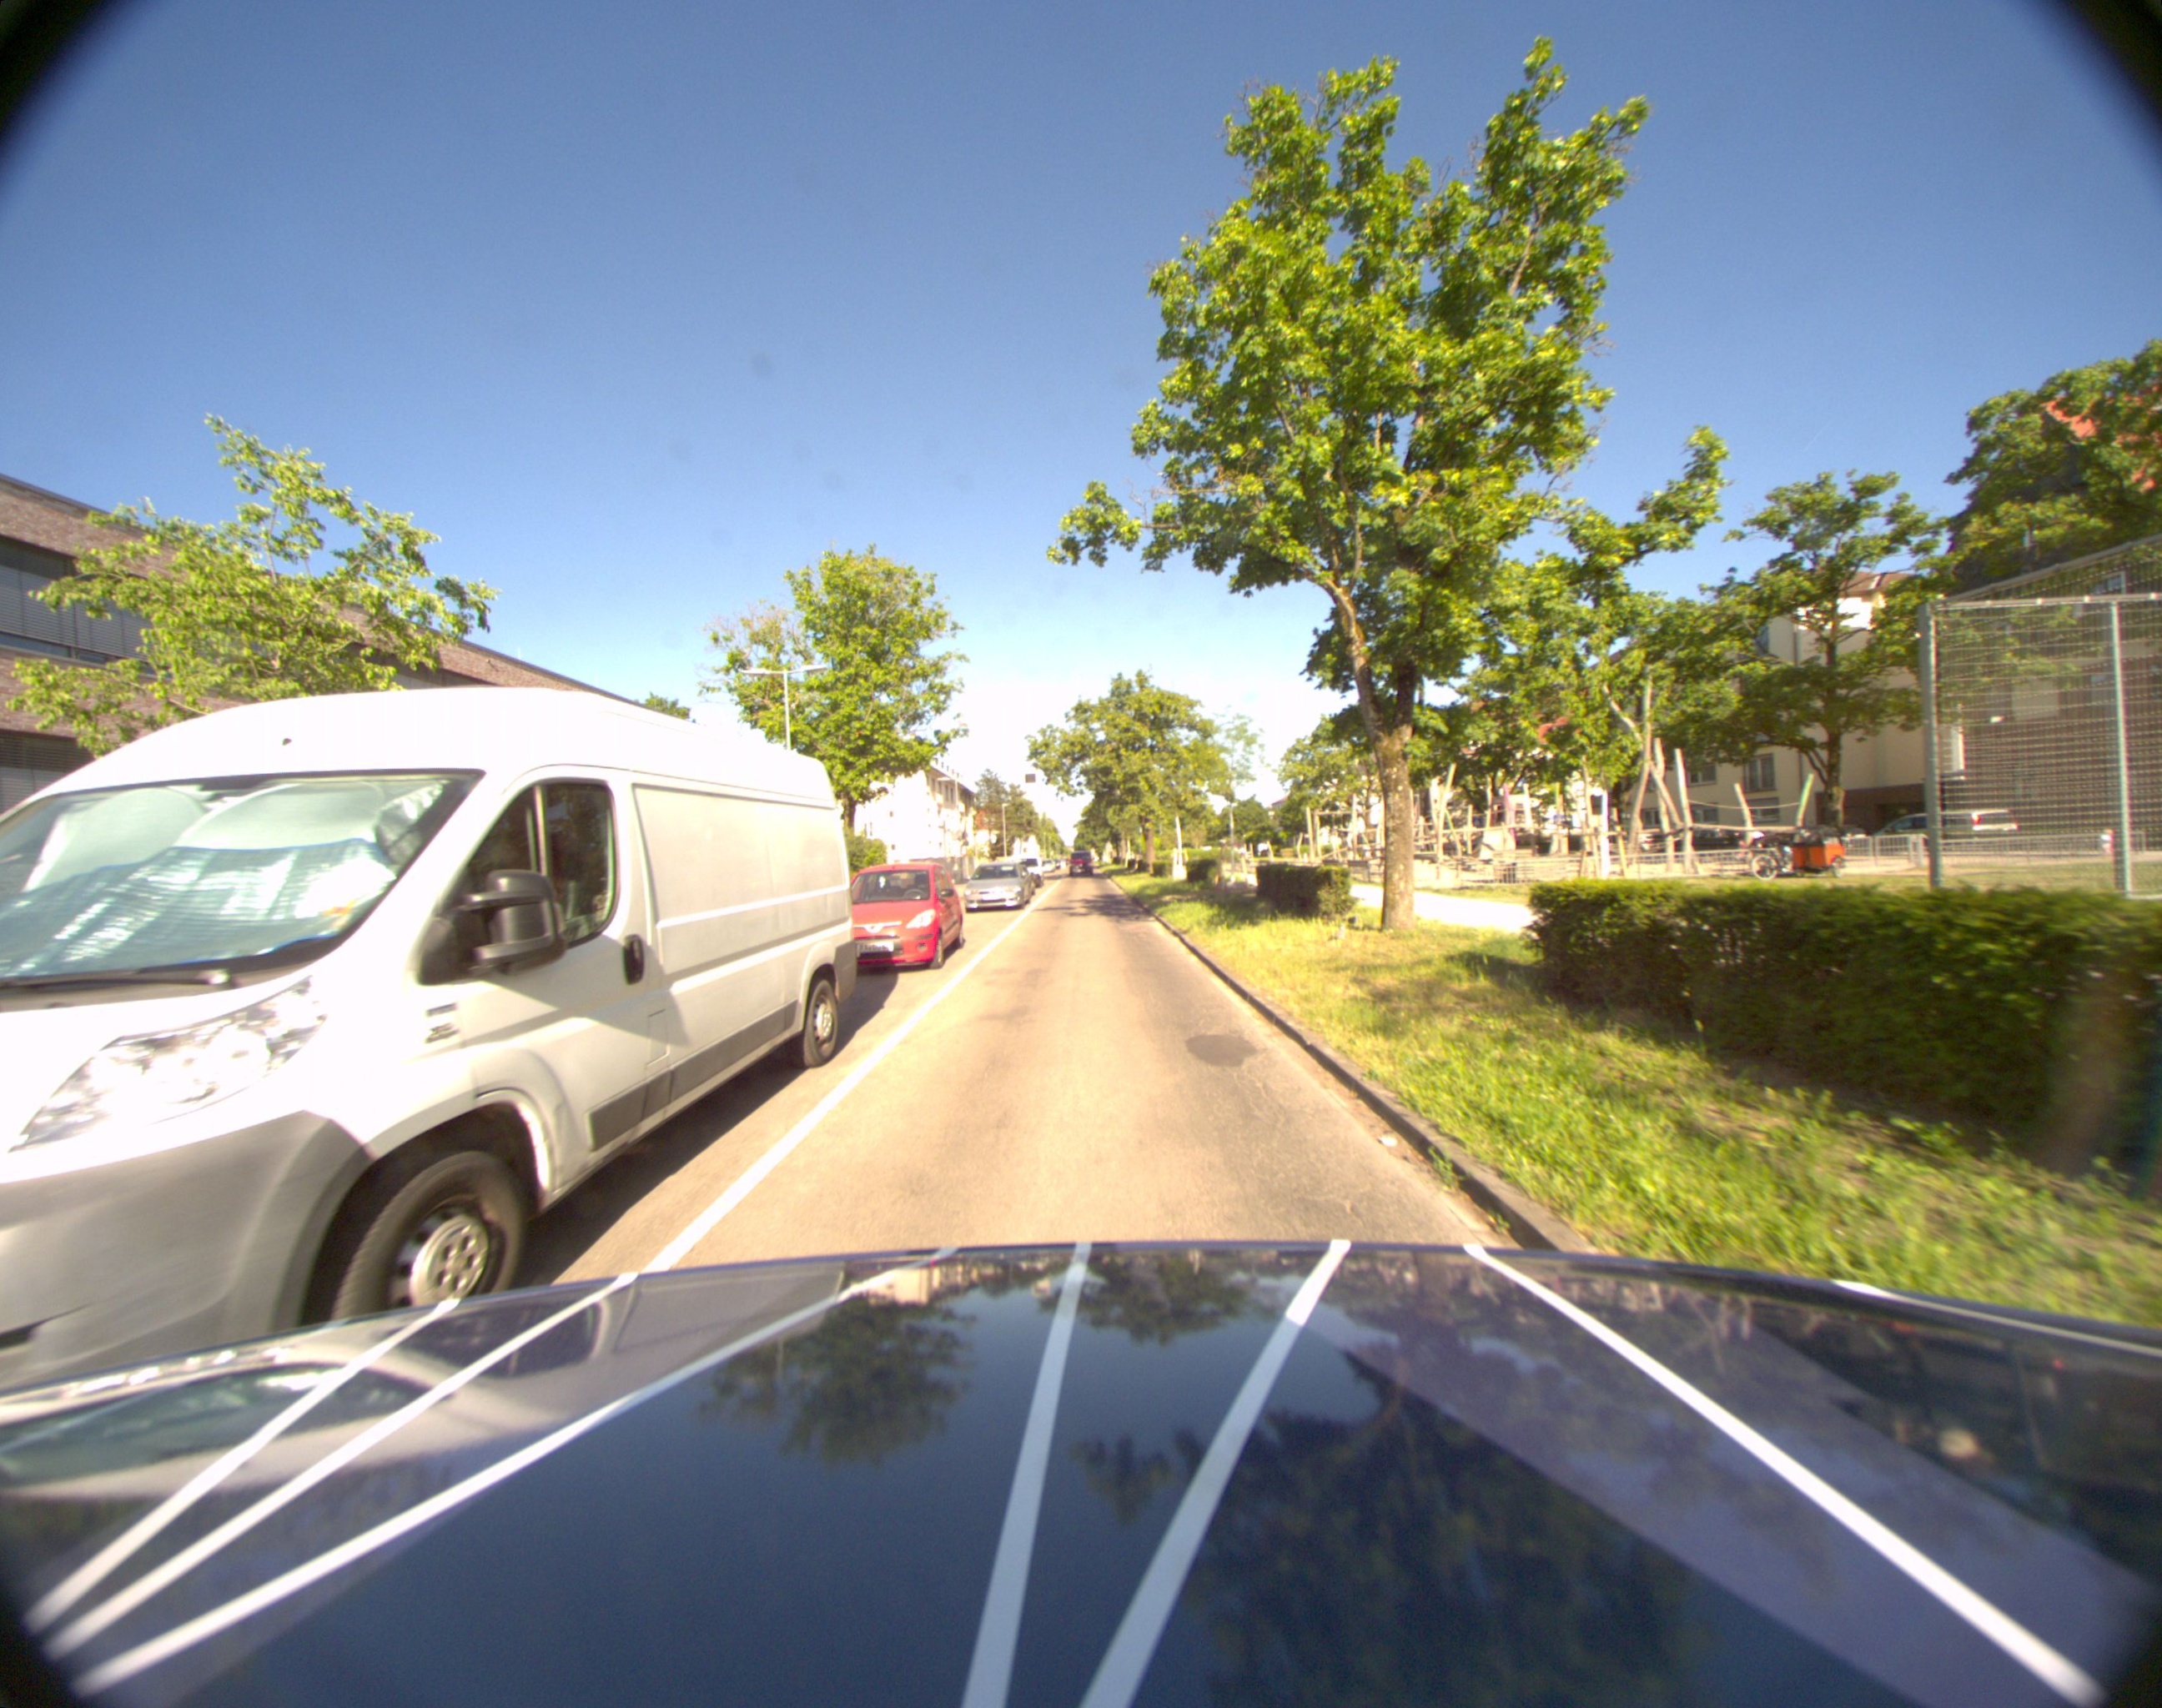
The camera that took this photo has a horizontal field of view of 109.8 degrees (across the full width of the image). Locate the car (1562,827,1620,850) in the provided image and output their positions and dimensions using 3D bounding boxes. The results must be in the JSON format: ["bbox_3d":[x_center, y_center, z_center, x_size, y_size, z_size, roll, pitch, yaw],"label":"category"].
[{"bbox_3d":[39.516,-1.166,58.980,1.799,1.545,4.000,-3,0,0],"label":"car"}]

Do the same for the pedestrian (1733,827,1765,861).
[{"bbox_3d":[26.725,-0.390,30.412,0.650,1.310,0.650,-3,0,-3],"label":"pedestrian"}]

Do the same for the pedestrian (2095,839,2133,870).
[{"bbox_3d":[27.623,0.012,20.324,0.484,0.799,0.359,-3,0,2],"label":"pedestrian"}]

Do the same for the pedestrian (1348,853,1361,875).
[{"bbox_3d":[16.506,0.593,45.920,0.649,1.321,0.651,-3,1,18],"label":"pedestrian"}]

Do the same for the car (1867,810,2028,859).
[{"bbox_3d":[39.420,-0.824,34.800,1.799,1.971,4.835,-3,0,1],"label":"car"}]

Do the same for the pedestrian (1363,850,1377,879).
[{"bbox_3d":[16.814,0.598,44.230,0.649,1.651,0.651,-3,1,18],"label":"pedestrian"}]

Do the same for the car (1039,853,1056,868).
[{"bbox_3d":[-3.659,0.726,81.956,1.664,1.456,4.409,-5,0,-4],"label":"car"}]

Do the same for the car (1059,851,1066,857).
[{"bbox_3d":[-5.065,0.045,211.527,1.799,1.529,4.001,-3,-1,0],"label":"car"}]

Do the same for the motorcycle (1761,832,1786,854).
[{"bbox_3d":[27.171,-0.432,29.799,0.703,0.822,0.284,-3,1,-1],"label":"motorcycle"}]

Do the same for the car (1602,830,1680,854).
[{"bbox_3d":[39.496,-0.811,53.788,1.911,1.501,4.764,-3,0,-1],"label":"car"}]

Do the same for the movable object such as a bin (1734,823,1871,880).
[{"bbox_3d":[17.377,-0.059,18.341,2.337,1.235,1.056,-2,0,-4],"label":"movable object such as a bin"}]

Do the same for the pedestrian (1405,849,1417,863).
[{"bbox_3d":[24.255,0.133,55.864,0.542,0.973,0.778,-3,0,8],"label":"pedestrian"}]

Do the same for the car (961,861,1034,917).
[{"bbox_3d":[-2.529,1.022,24.012,1.706,1.470,4.173,-4,0,1],"label":"car"}]

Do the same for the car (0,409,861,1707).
[{"bbox_3d":[-3.157,0.451,3.914,2.246,2.559,5.432,-4,0,1],"label":"car"}]

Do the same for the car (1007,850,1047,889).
[{"bbox_3d":[-2.828,0.791,40.769,1.812,1.897,4.460,-4,0,-1],"label":"car"}]

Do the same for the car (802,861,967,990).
[{"bbox_3d":[-2.849,0.960,11.772,1.624,1.579,3.591,-3,0,-2],"label":"car"}]

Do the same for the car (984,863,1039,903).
[{"bbox_3d":[-2.670,1.093,29.952,1.706,1.317,4.129,-4,0,0],"label":"car"}]

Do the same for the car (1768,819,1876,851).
[{"bbox_3d":[39.227,-0.984,40.345,1.799,1.501,4.000,-3,0,1],"label":"car"}]

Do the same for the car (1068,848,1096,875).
[{"bbox_3d":[0.062,0.548,60.753,2.092,2.000,4.844,-2,0,0],"label":"car"}]

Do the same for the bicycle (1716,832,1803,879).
[{"bbox_3d":[17.610,0.034,19.741,1.799,1.101,0.500,-3,0,-1],"label":"bicycle"}]
